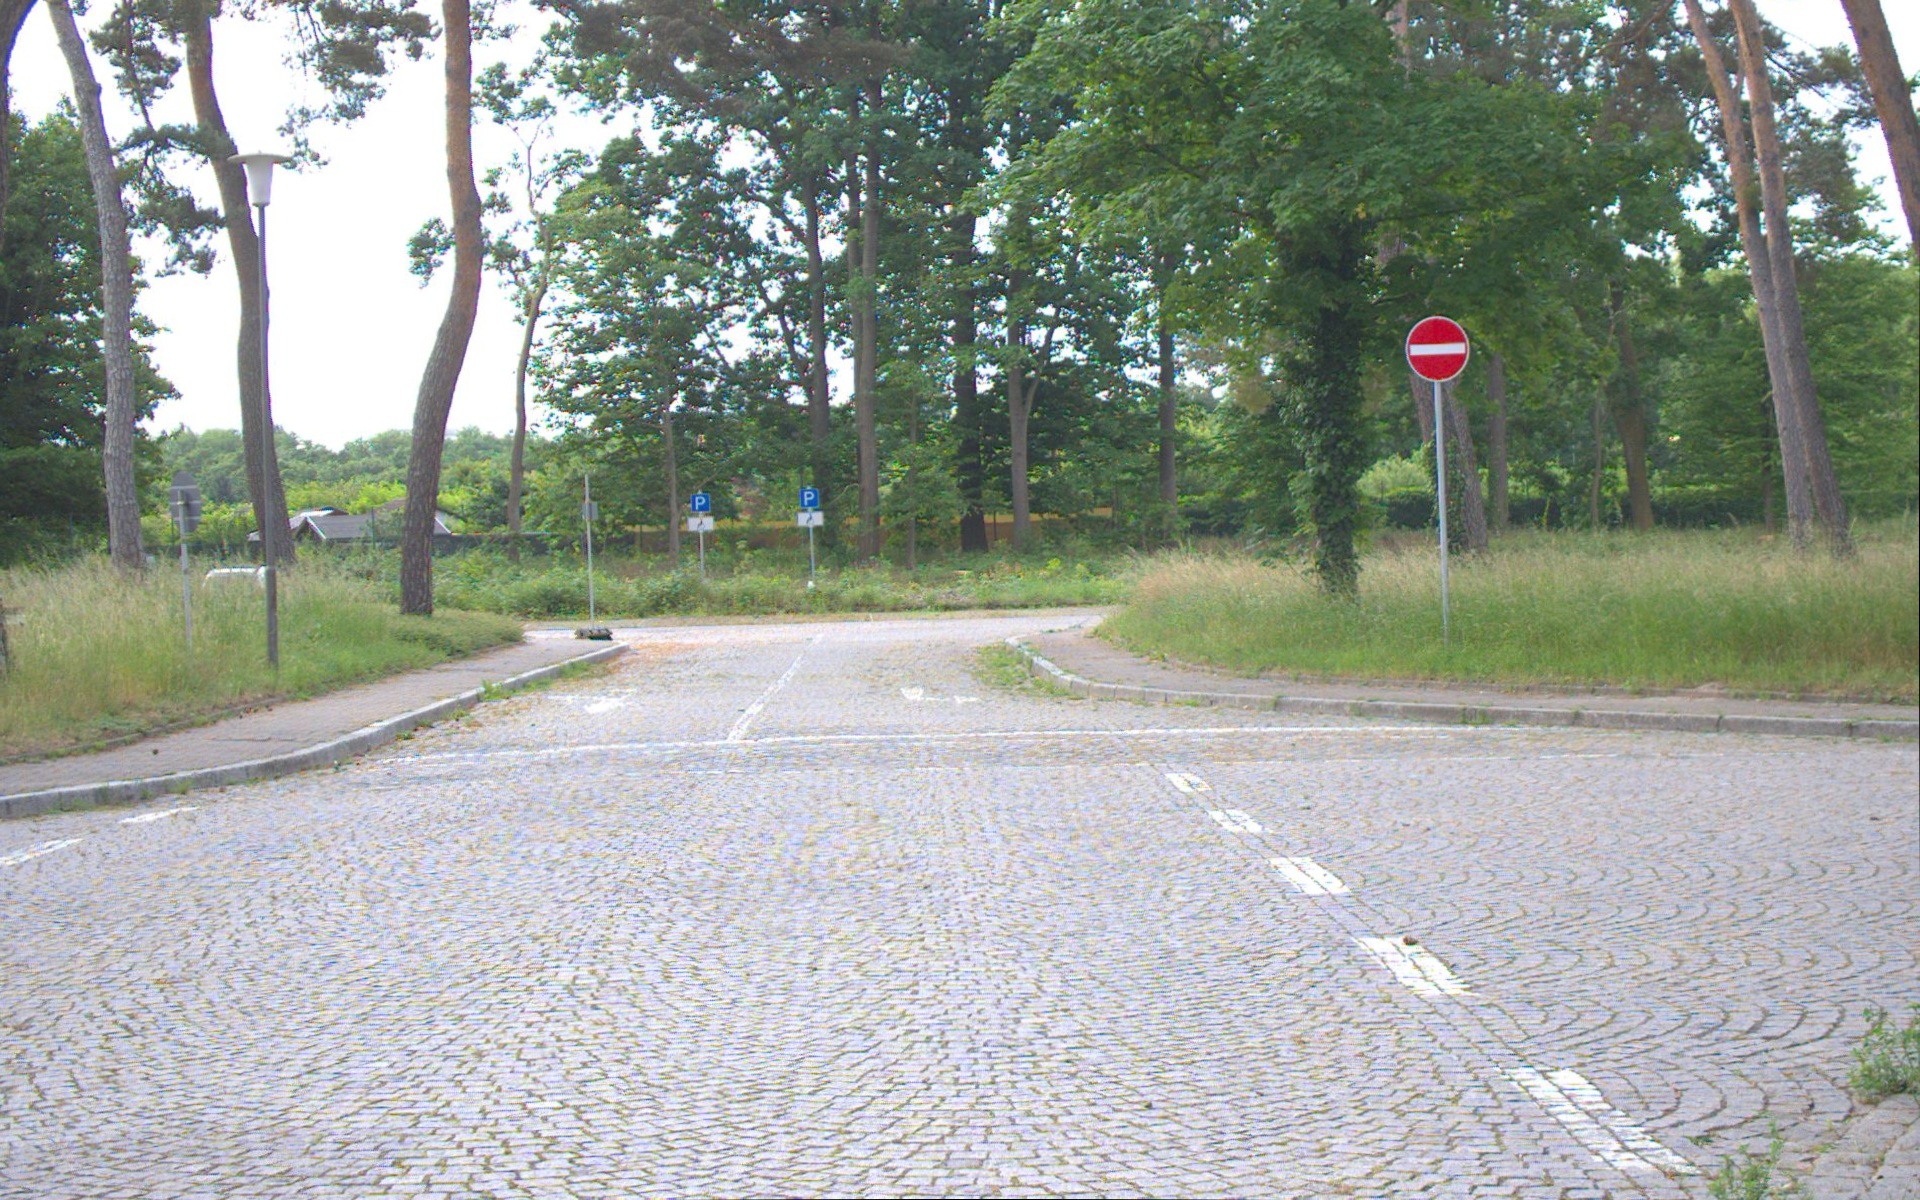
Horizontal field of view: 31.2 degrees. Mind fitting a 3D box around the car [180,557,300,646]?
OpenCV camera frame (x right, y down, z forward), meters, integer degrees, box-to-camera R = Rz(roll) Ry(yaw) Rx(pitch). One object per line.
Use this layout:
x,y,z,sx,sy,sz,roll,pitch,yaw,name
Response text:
-15.464,0.012,74.035,1.993,1.840,4.001,0,1,-4,car
